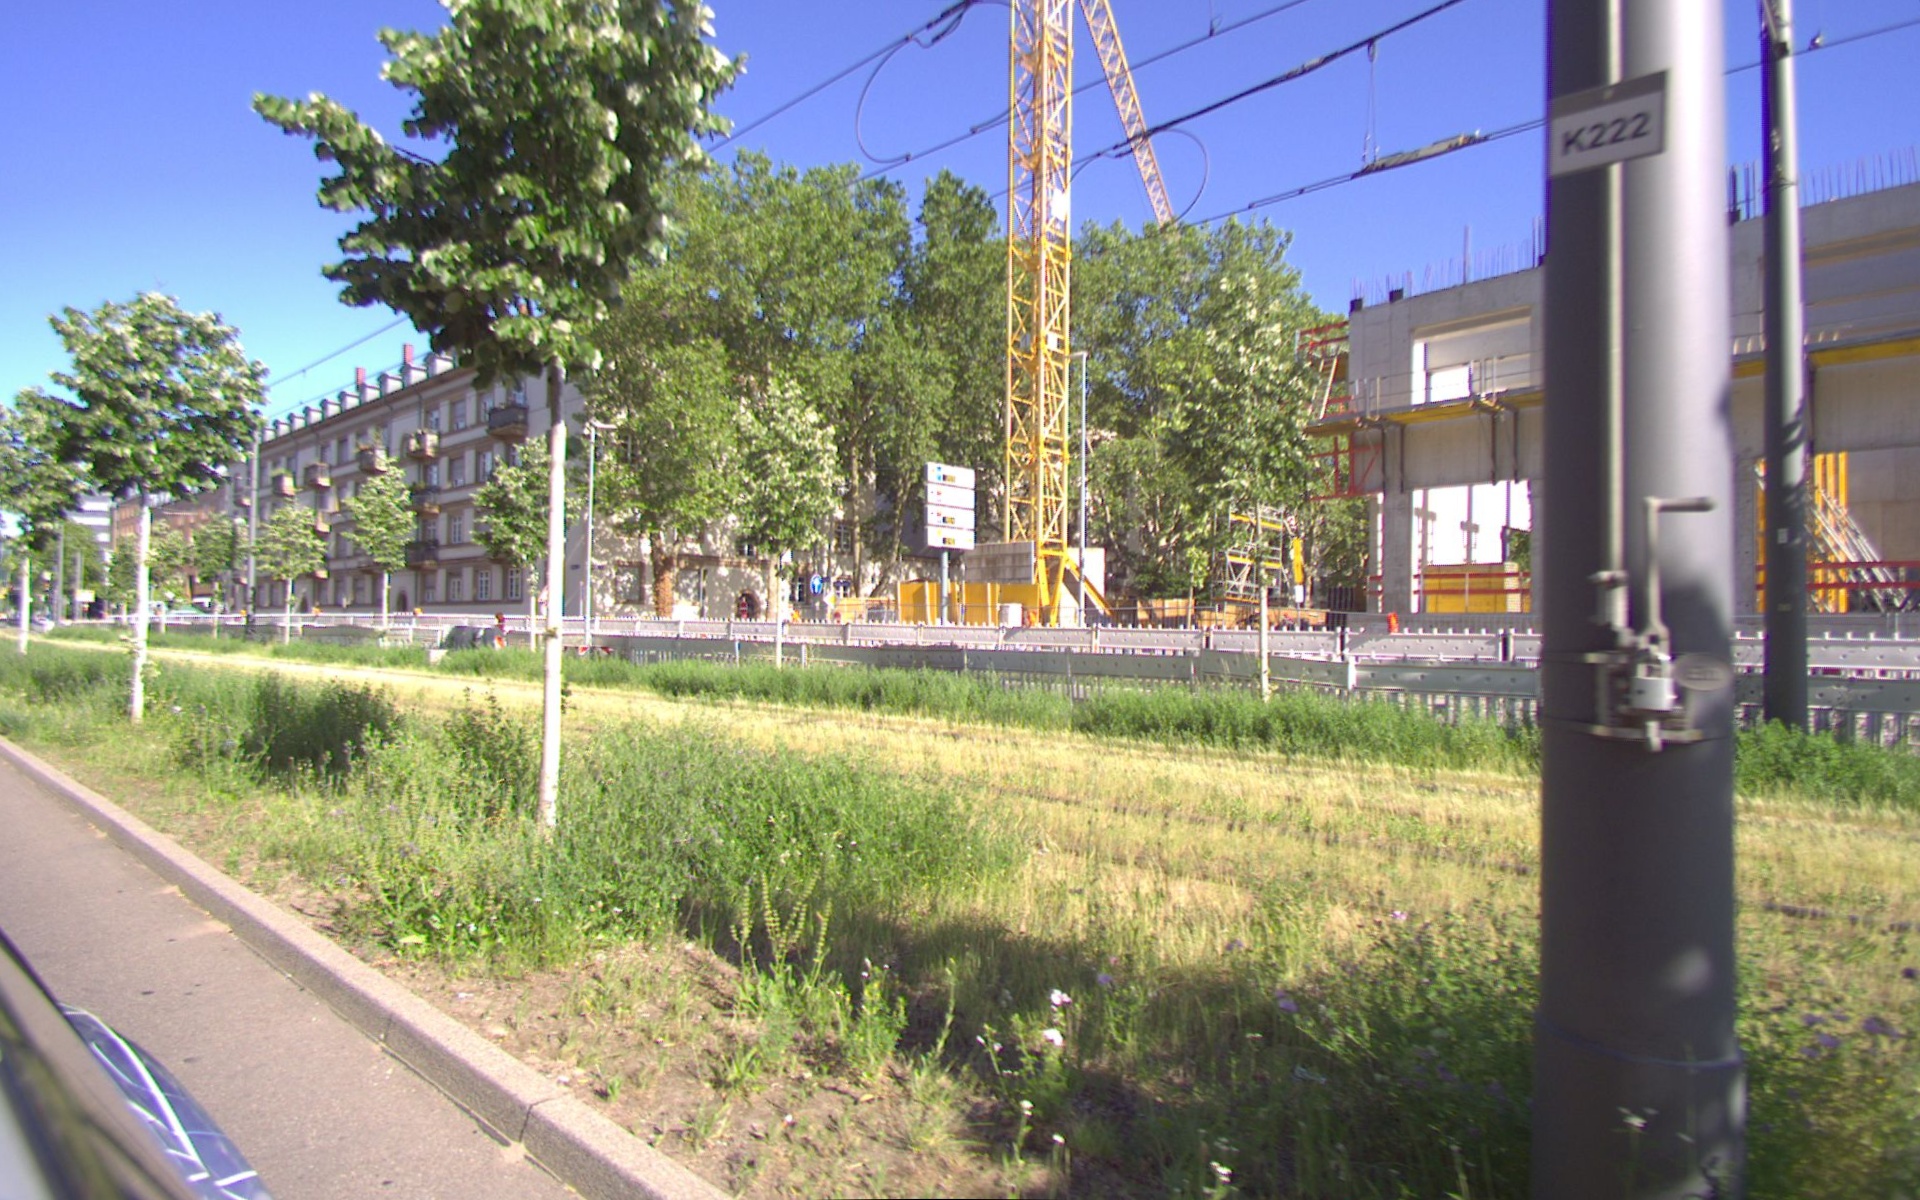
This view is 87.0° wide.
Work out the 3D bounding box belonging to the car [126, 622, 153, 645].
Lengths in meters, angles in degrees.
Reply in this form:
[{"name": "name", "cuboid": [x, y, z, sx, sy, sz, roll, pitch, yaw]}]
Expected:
[{"name": "car", "cuboid": [-86.507, 3.462, 106.707, 1.969, 2.314, 5.196, 1, -1, -41]}]
